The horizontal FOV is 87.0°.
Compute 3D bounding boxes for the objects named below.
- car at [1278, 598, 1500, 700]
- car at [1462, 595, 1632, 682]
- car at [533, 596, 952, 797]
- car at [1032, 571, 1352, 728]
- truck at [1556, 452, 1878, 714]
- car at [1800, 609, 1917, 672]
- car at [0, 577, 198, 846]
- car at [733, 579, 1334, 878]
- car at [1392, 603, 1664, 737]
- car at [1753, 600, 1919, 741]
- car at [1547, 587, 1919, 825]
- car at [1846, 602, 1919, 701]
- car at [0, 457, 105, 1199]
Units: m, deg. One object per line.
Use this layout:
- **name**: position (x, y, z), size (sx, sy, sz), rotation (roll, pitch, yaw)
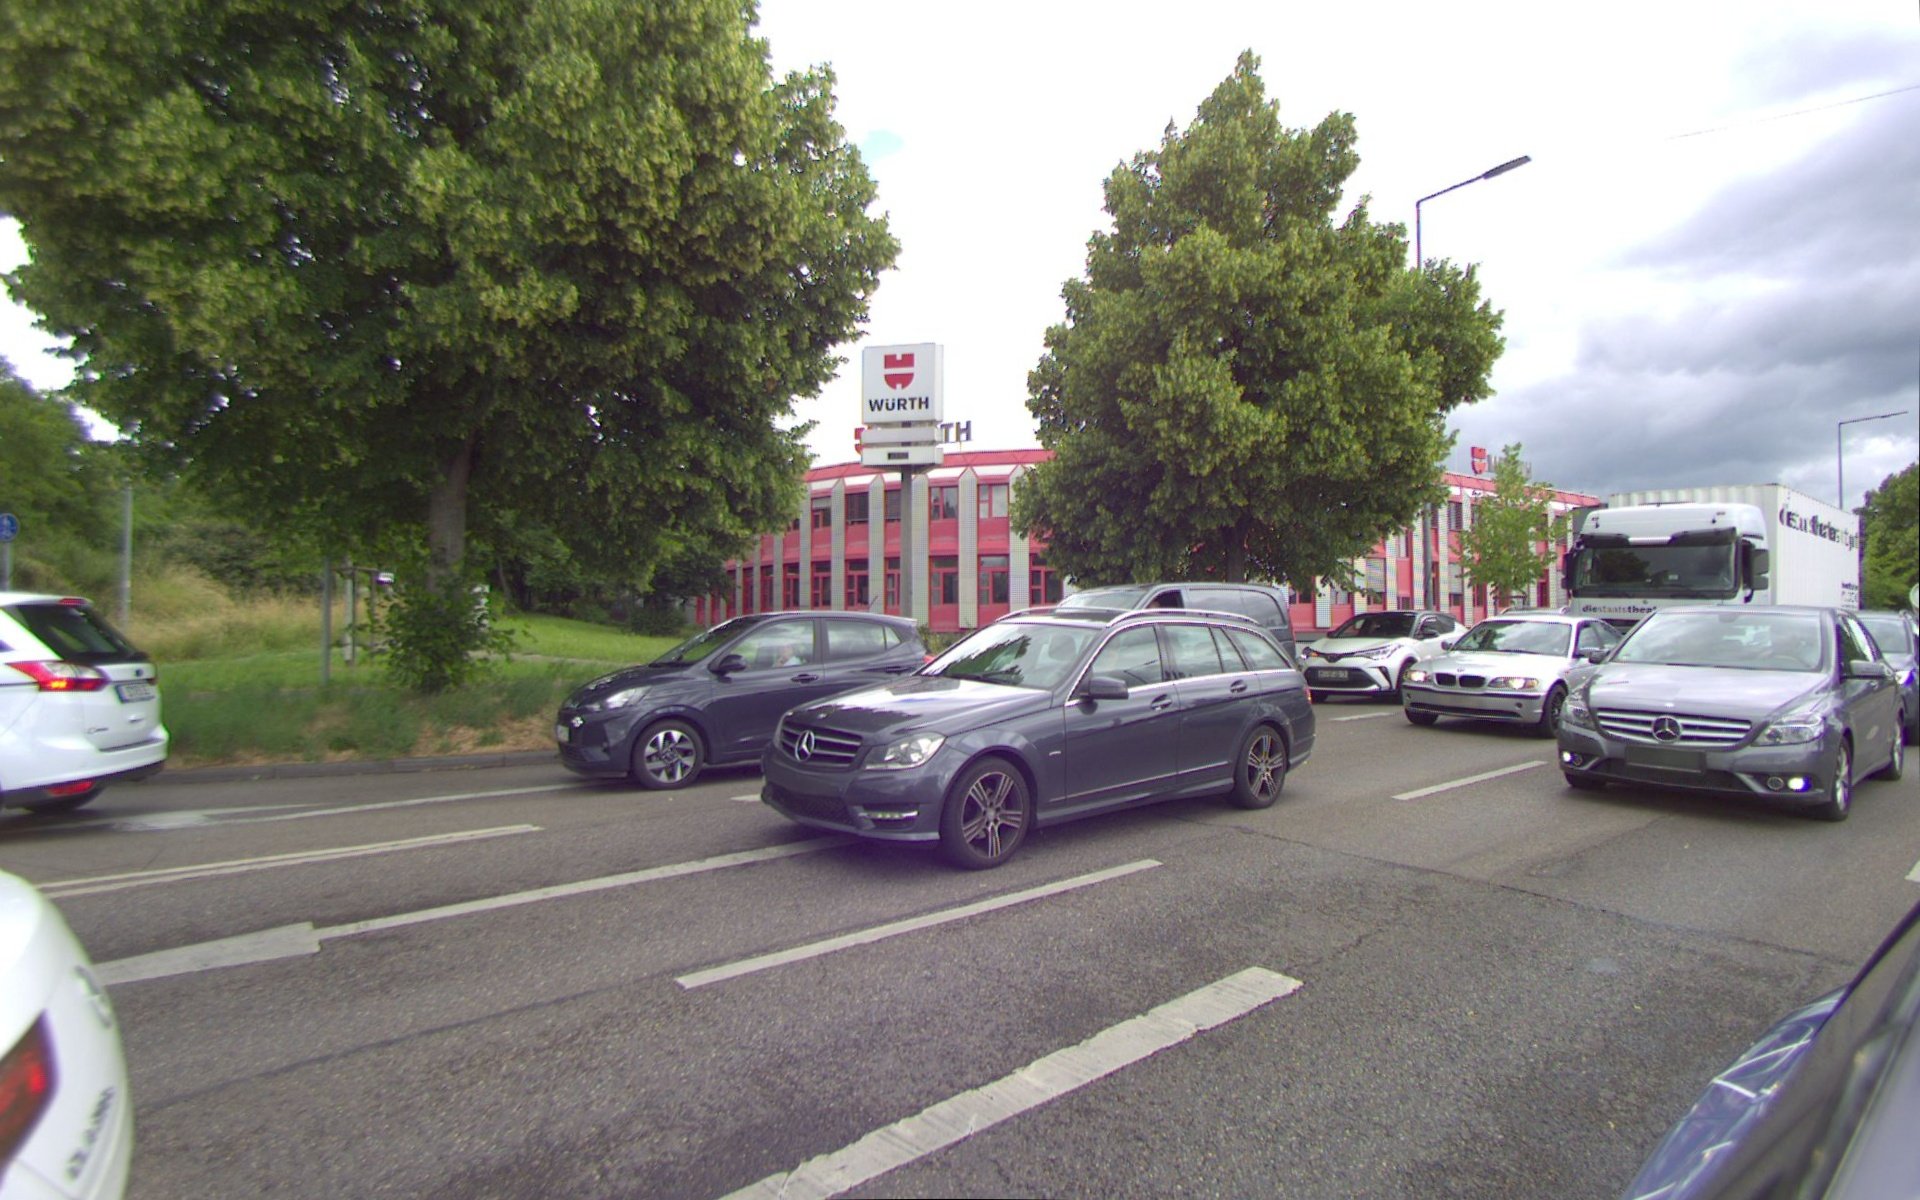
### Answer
- **car**: position (7.403, 0.795, 17.325), size (4.034, 1.536, 1.842), rotation (0, -4, -41)
- **car**: position (12.560, 0.797, 21.555), size (4.133, 1.679, 1.863), rotation (1, -3, -41)
- **car**: position (-1.973, 0.739, 9.475), size (3.495, 1.525, 1.608), rotation (-1, 0, -34)
- **car**: position (3.274, 0.632, 13.792), size (4.591, 1.798, 1.761), rotation (0, -4, -40)
- **truck**: position (14.988, -0.235, 19.584), size (10.000, 3.953, 2.808), rotation (0, 0, -40)
- **car**: position (24.322, 1.050, 27.337), size (4.299, 1.549, 1.850), rotation (1, -1, -41)
- **car**: position (-7.866, 0.707, 6.602), size (4.278, 1.676, 1.767), rotation (0, -1, -20)
- **car**: position (0.743, 0.663, 7.171), size (4.279, 1.504, 1.749), rotation (1, -1, -41)
- **car**: position (7.446, 0.770, 13.097), size (4.215, 1.400, 1.749), rotation (-1, 1, -41)
- **car**: position (11.345, 0.784, 12.609), size (3.769, 1.512, 1.627), rotation (1, -1, -41)
- **car**: position (6.598, 0.705, 8.457), size (3.976, 1.527, 1.749), rotation (1, -1, -41)
- **car**: position (16.269, 0.840, 16.790), size (3.431, 1.525, 1.825), rotation (2, -1, -39)
- **car**: position (-3.068, 0.663, 0.161), size (4.451, 1.525, 1.848), rotation (-1, 1, -40)
